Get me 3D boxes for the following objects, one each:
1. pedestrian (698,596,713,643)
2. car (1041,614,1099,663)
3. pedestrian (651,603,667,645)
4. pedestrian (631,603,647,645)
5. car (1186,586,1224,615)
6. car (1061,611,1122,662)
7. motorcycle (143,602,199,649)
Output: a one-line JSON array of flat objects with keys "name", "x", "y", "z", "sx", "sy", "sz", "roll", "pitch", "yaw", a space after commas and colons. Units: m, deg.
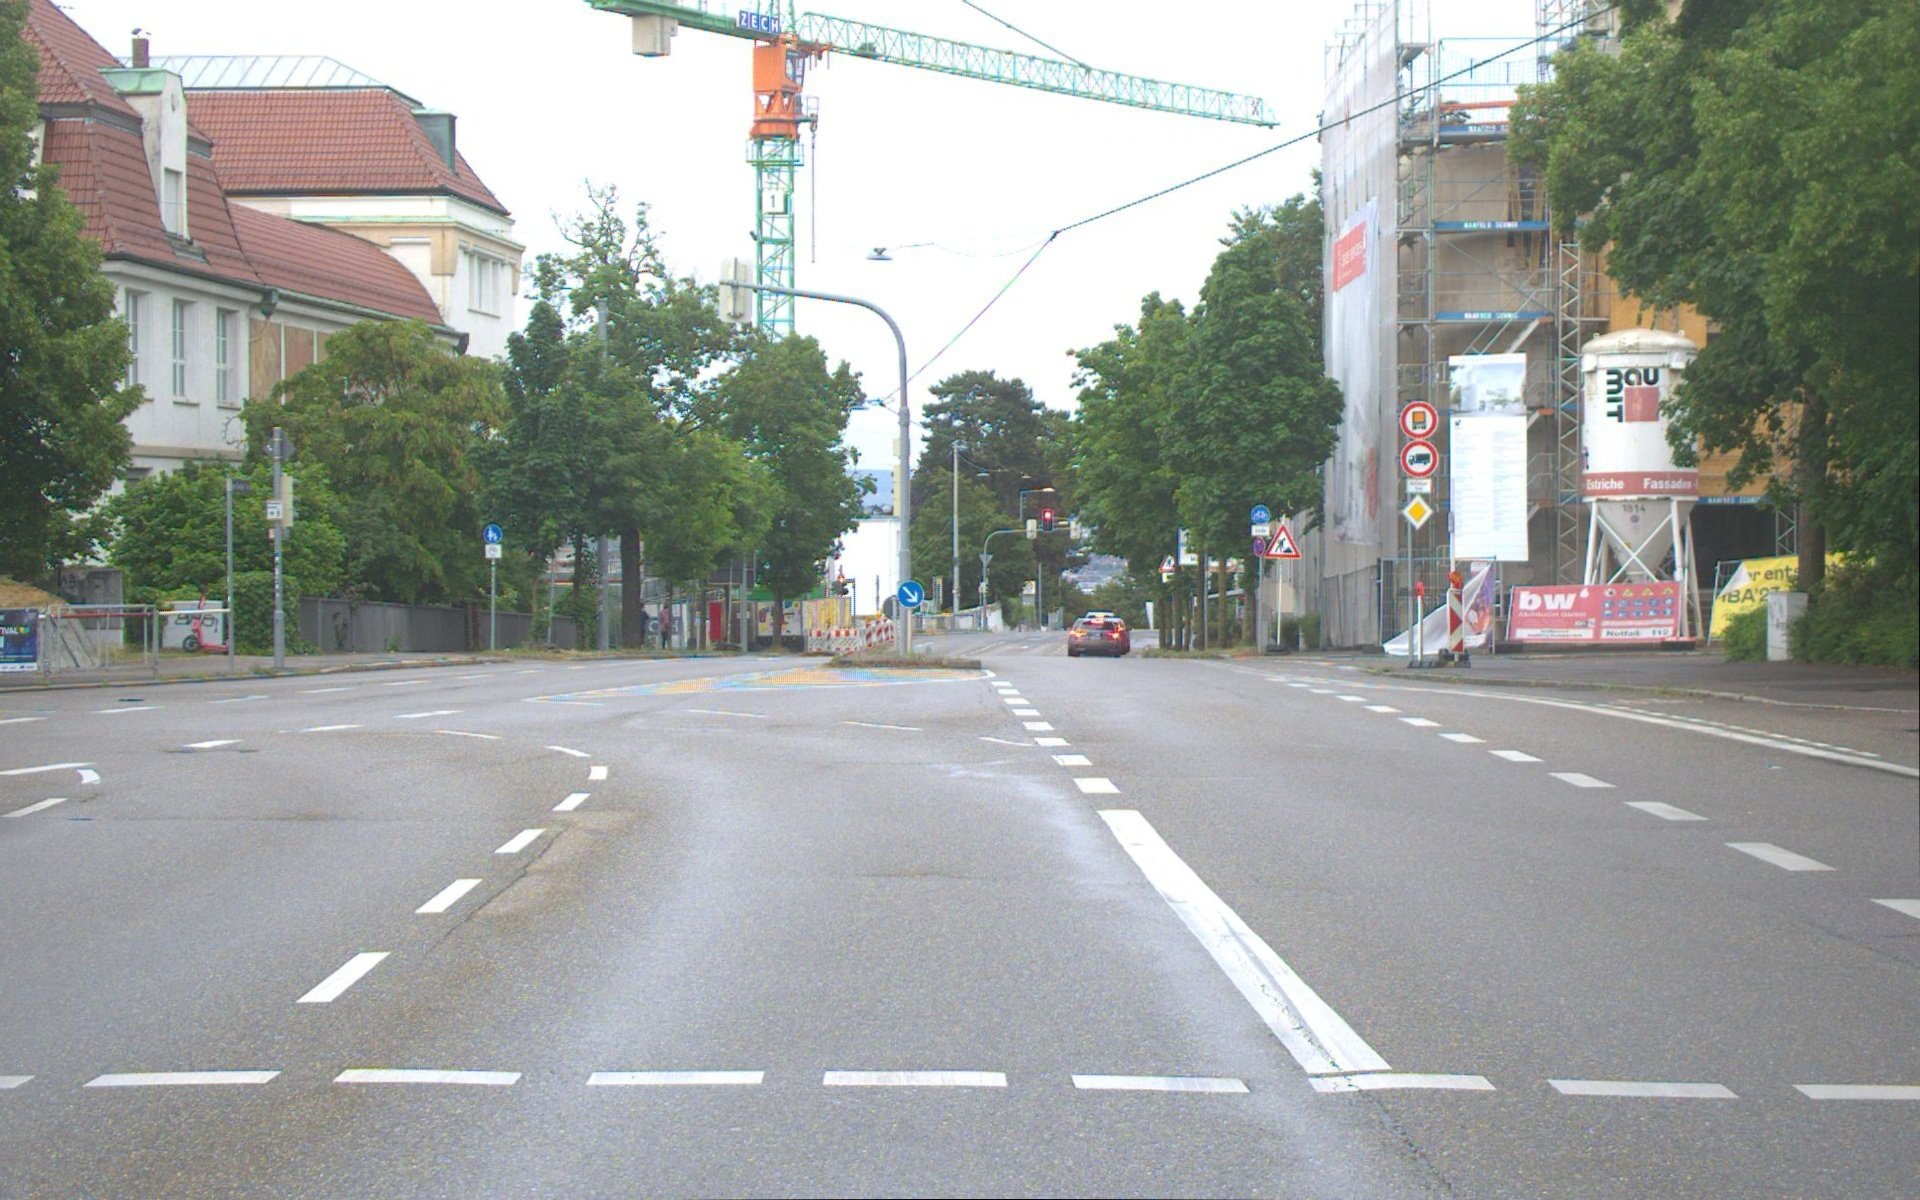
[{"name": "pedestrian", "x": -8.964, "y": 0.690, "z": 121.153, "sx": 0.493, "sy": 1.640, "sz": 0.534, "roll": 1, "pitch": 0, "yaw": -6}, {"name": "car", "x": 4.212, "y": 1.456, "z": 131.857, "sx": 1.993, "sy": 1.744, "sz": 4.000, "roll": -1, "pitch": 1, "yaw": -1}, {"name": "pedestrian", "x": -9.993, "y": 0.788, "z": 114.205, "sx": 0.474, "sy": 1.392, "sz": 0.411, "roll": 0, "pitch": 1, "yaw": -1}, {"name": "pedestrian", "x": -10.667, "y": 0.800, "z": 114.261, "sx": 0.474, "sy": 1.391, "sz": 0.411, "roll": -1, "pitch": 1, "yaw": -1}, {"name": "car", "x": 15.642, "y": 0.006, "z": 219.347, "sx": 1.994, "sy": 1.744, "sz": 3.998, "roll": -1, "pitch": 1, "yaw": 11}, {"name": "car", "x": 4.771, "y": 1.303, "z": 125.019, "sx": 1.993, "sy": 1.744, "sz": 4.000, "roll": -1, "pitch": 1, "yaw": -1}, {"name": "motorcycle", "x": -14.854, "y": 0.478, "z": 64.746, "sx": 0.849, "sy": 0.874, "sz": 0.877, "roll": 1, "pitch": 0, "yaw": -1}]
